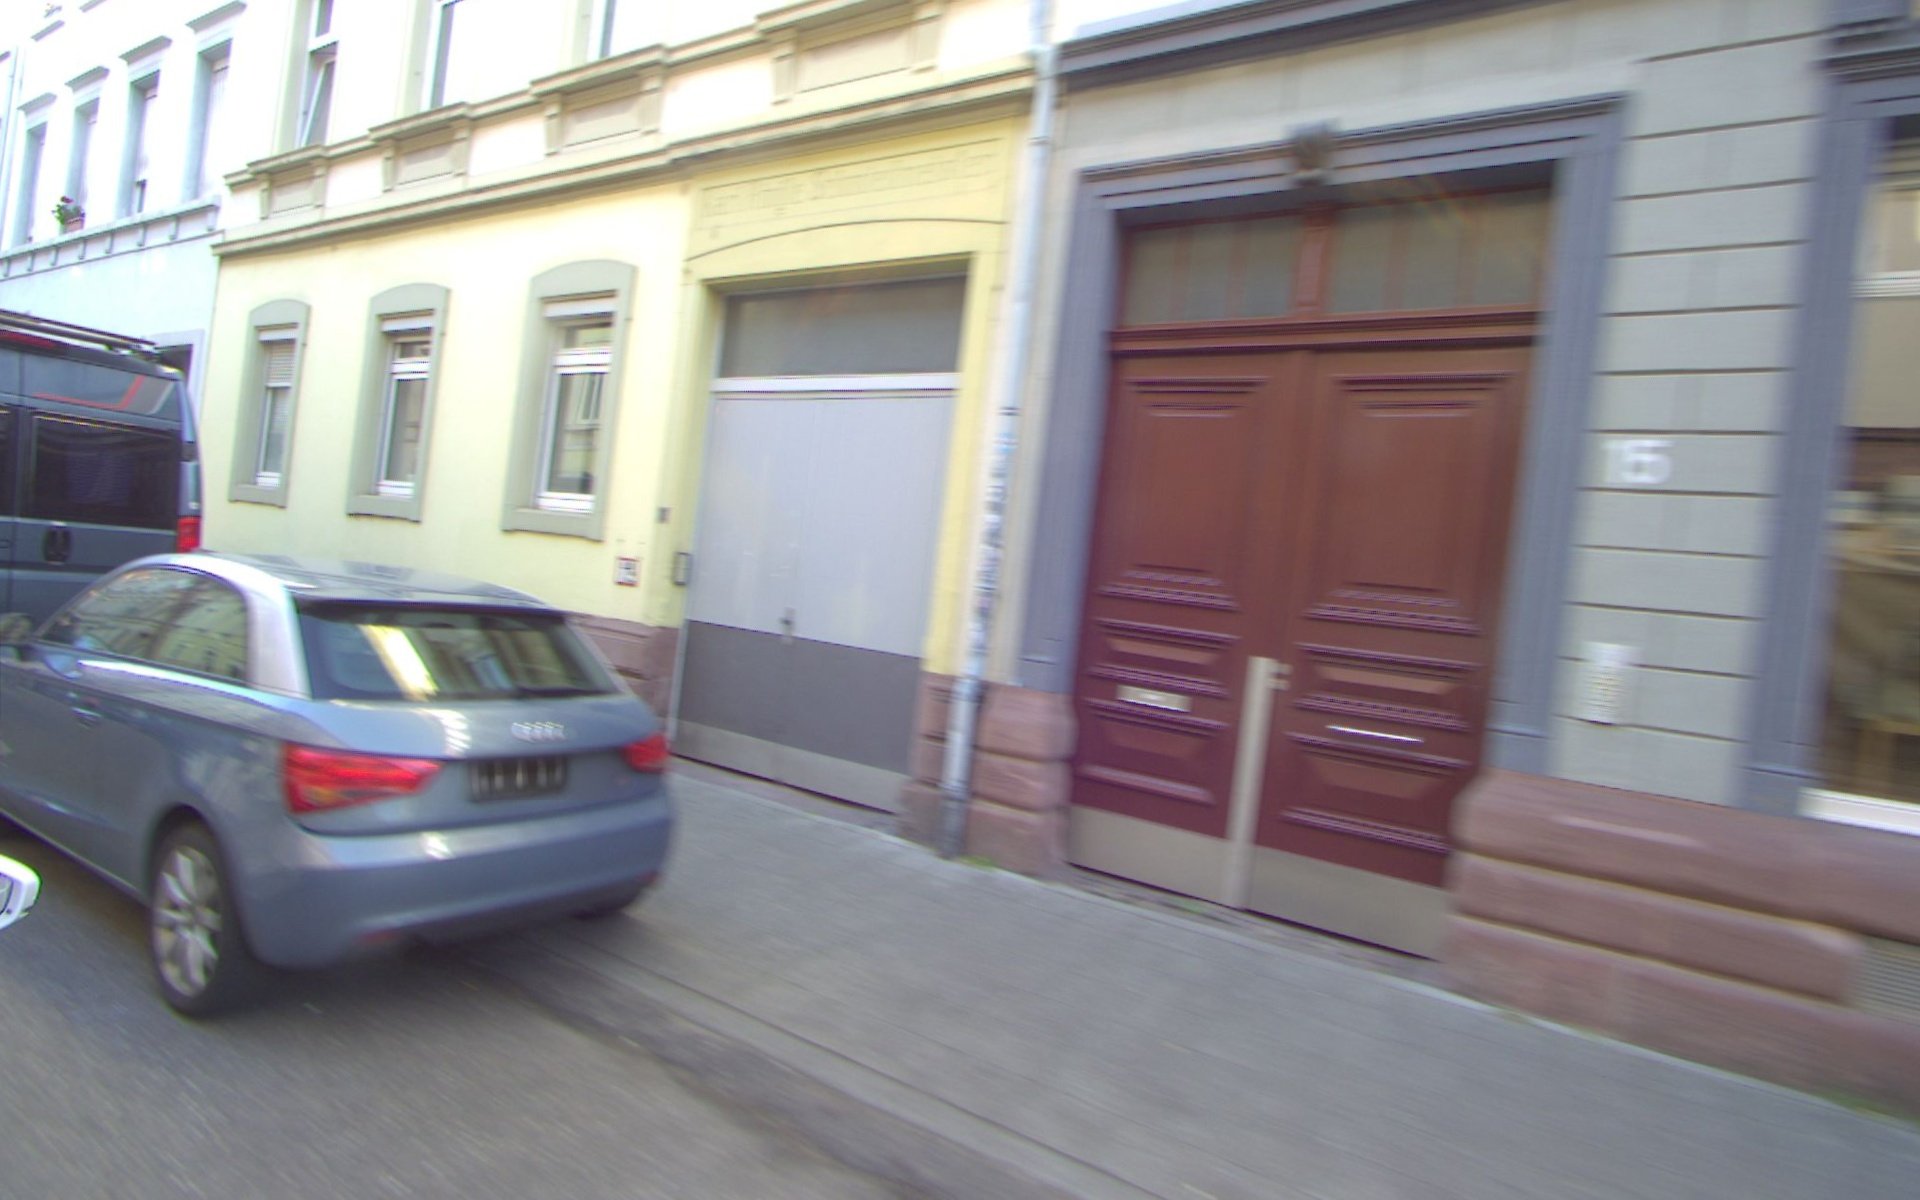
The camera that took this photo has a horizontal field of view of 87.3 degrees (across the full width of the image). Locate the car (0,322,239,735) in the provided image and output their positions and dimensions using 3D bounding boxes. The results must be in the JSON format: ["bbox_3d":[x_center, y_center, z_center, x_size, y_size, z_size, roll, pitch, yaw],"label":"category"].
[{"bbox_3d":[-8.291,-0.715,7.711,6.205,2.456,2.176,7,1,32],"label":"car"}]

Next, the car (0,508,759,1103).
[{"bbox_3d":[-3.095,0.494,4.542,4.103,1.461,1.750,7,-1,32],"label":"car"}]
